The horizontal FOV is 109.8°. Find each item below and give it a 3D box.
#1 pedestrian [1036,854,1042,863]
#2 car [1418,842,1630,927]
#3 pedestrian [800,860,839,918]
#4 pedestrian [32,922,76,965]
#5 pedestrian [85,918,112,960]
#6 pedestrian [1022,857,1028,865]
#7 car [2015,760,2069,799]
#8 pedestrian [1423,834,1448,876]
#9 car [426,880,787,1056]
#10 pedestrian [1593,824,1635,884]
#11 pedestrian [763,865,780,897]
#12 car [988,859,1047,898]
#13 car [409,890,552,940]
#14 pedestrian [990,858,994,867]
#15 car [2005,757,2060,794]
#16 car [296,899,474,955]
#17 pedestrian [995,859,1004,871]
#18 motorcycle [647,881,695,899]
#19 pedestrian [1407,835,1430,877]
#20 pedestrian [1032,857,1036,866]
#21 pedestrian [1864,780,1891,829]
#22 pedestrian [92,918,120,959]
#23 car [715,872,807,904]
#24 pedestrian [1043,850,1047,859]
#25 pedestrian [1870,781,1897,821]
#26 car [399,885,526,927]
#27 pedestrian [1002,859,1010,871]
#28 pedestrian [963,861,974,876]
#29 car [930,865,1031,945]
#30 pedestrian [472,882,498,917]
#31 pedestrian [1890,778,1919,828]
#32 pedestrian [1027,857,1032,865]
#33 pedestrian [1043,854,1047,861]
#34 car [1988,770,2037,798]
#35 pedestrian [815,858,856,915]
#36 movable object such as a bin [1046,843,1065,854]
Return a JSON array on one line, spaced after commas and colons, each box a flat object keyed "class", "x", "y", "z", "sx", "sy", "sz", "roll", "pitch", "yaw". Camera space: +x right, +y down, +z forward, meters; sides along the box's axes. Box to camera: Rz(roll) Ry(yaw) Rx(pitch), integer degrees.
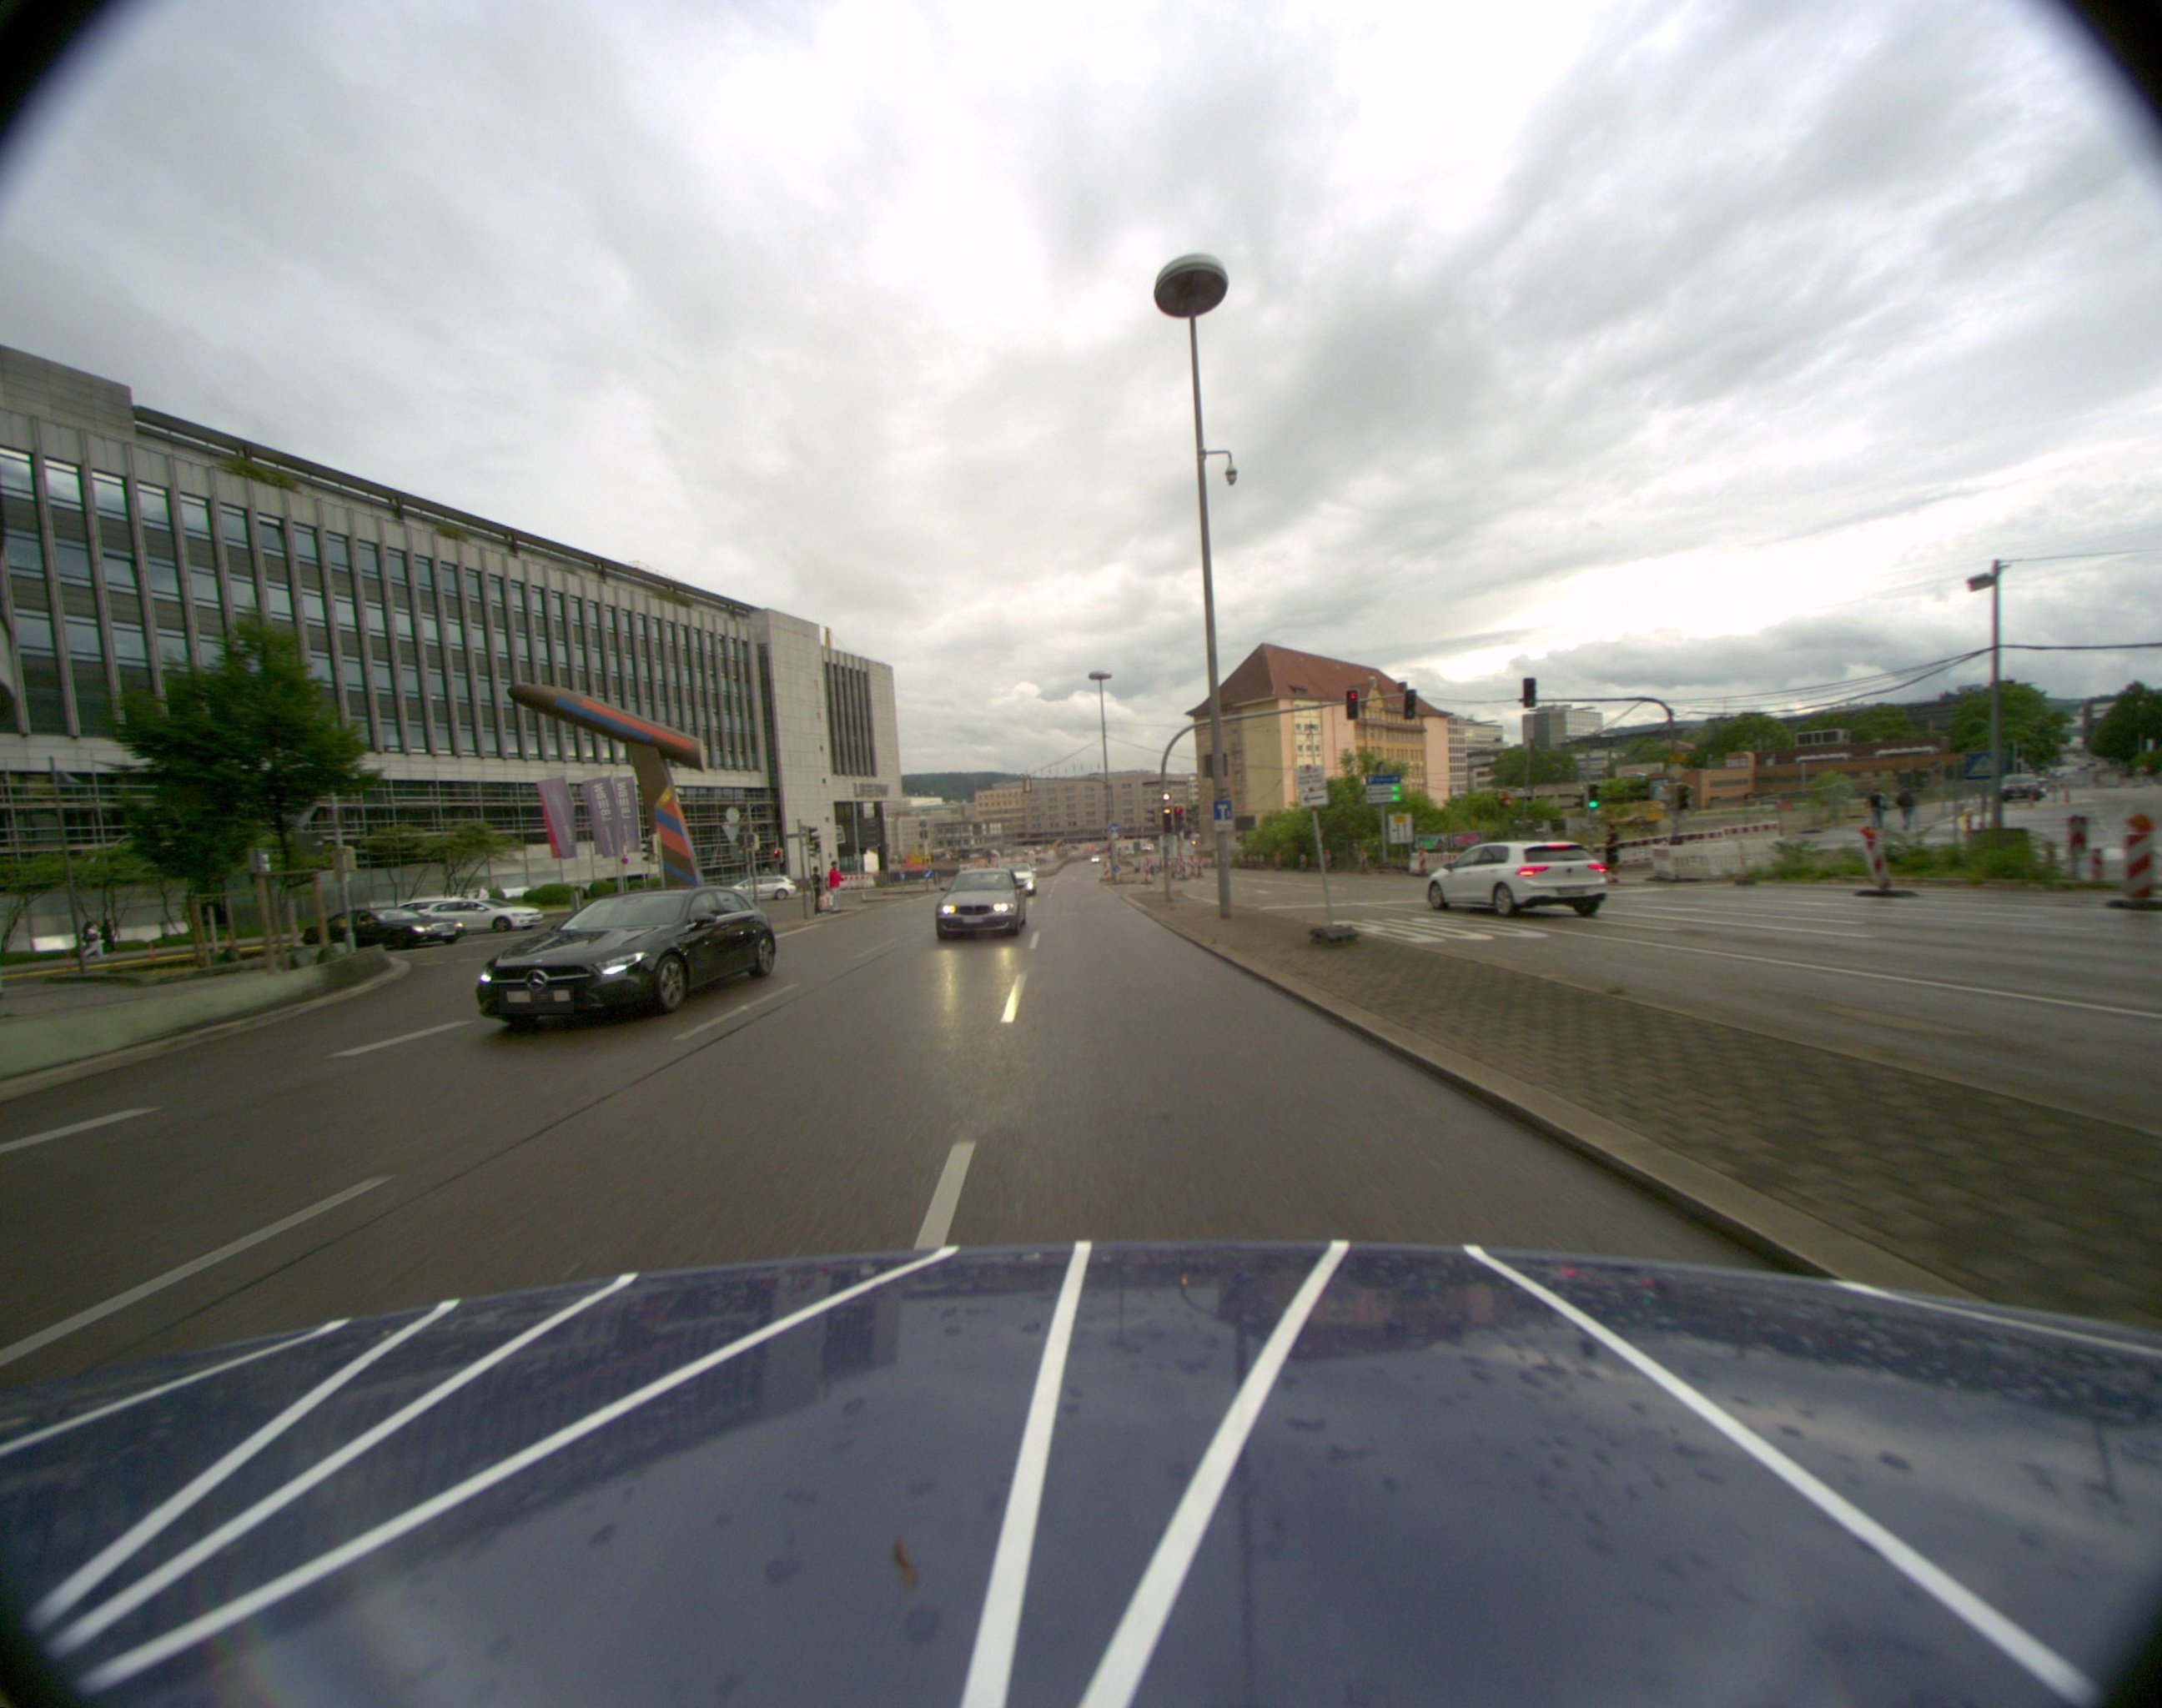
[{"class": "pedestrian", "x": -9.030, "y": 0.891, "z": 162.970, "sx": 0.818, "sy": 1.839, "sz": 0.933, "roll": -2, "pitch": 3, "yaw": 36}, {"class": "car", "x": 8.890, "y": 0.549, "z": 15.765, "sx": 1.765, "sy": 1.452, "sz": 4.359, "roll": -2, "pitch": 0, "yaw": -1}, {"class": "pedestrian", "x": -8.770, "y": 1.175, "z": 25.521, "sx": 0.841, "sy": 1.894, "sz": 0.733, "roll": -2, "pitch": 3, "yaw": 26}, {"class": "pedestrian", "x": -44.070, "y": 3.821, "z": 32.598, "sx": 0.942, "sy": 1.736, "sz": 0.905, "roll": -4, "pitch": 0, "yaw": 26}, {"class": "pedestrian", "x": -42.962, "y": 3.712, "z": 33.229, "sx": 0.560, "sy": 1.736, "sz": 0.553, "roll": -4, "pitch": 0, "yaw": 26}, {"class": "pedestrian", "x": -11.142, "y": 1.458, "z": 151.350, "sx": 0.715, "sy": 1.545, "sz": 1.009, "roll": -3, "pitch": 3, "yaw": 19}, {"class": "car", "x": 53.120, "y": -4.105, "z": 41.992, "sx": 4.006, "sy": 1.955, "sz": 1.809, "roll": -5, "pitch": 3, "yaw": -37}, {"class": "pedestrian", "x": 16.589, "y": 0.029, "z": 35.606, "sx": 0.763, "sy": 1.912, "sz": 0.742, "roll": -3, "pitch": 3, "yaw": 2}, {"class": "car", "x": -5.401, "y": 1.173, "z": 9.463, "sx": 1.759, "sy": 1.399, "sz": 4.226, "roll": -3, "pitch": 1, "yaw": 0}, {"class": "pedestrian", "x": 17.022, "y": -0.013, "z": 24.279, "sx": 0.743, "sy": 1.870, "sz": 0.746, "roll": -4, "pitch": 3, "yaw": -10}, {"class": "pedestrian", "x": -21.218, "y": 1.834, "z": 52.042, "sx": 0.856, "sy": 2.086, "sz": 0.903, "roll": -6, "pitch": 1, "yaw": -23}, {"class": "car", "x": -2.832, "y": 1.088, "z": 34.977, "sx": 1.968, "sy": 1.539, "sz": 4.220, "roll": -3, "pitch": 0, "yaw": 4}, {"class": "car", "x": -23.933, "y": 2.402, "z": 30.432, "sx": 3.999, "sy": 1.434, "sz": 1.865, "roll": -5, "pitch": 4, "yaw": -4}, {"class": "pedestrian", "x": -17.005, "y": 1.628, "z": 144.898, "sx": 0.567, "sy": 1.738, "sz": 0.495, "roll": -3, "pitch": 3, "yaw": 18}, {"class": "car", "x": 57.453, "y": -4.731, "z": 45.855, "sx": 4.006, "sy": 2.003, "sz": 1.995, "roll": -5, "pitch": 3, "yaw": -37}, {"class": "car", "x": -23.332, "y": 2.439, "z": 25.532, "sx": 4.707, "sy": 1.434, "sz": 1.868, "roll": -4, "pitch": 2, "yaw": 11}, {"class": "pedestrian", "x": -11.795, "y": 1.627, "z": 110.431, "sx": 0.861, "sy": 1.584, "sz": 0.953, "roll": -2, "pitch": 3, "yaw": 27}, {"class": "motorcycle", "x": -25.559, "y": 2.213, "z": 47.419, "sx": 2.572, "sy": 1.074, "sz": 0.634, "roll": 0, "pitch": 0, "yaw": -8}, {"class": "pedestrian", "x": 15.846, "y": 0.080, "z": 35.655, "sx": 0.674, "sy": 1.891, "sz": 0.775, "roll": -3, "pitch": 3, "yaw": 2}, {"class": "pedestrian", "x": -8.743, "y": 1.399, "z": 140.626, "sx": 0.648, "sy": 1.624, "sz": 0.907, "roll": -3, "pitch": 3, "yaw": 0}, {"class": "pedestrian", "x": 35.748, "y": -2.218, "z": 34.095, "sx": 0.703, "sy": 2.159, "sz": 0.745, "roll": -6, "pitch": 3, "yaw": -37}, {"class": "pedestrian", "x": -42.388, "y": 3.674, "z": 33.032, "sx": 0.560, "sy": 1.736, "sz": 0.553, "roll": -4, "pitch": 0, "yaw": 26}, {"class": "car", "x": -18.712, "y": 1.959, "z": 44.519, "sx": 4.622, "sy": 1.443, "sz": 1.702, "roll": -5, "pitch": 1, "yaw": -34}, {"class": "pedestrian", "x": -7.704, "y": 0.099, "z": 162.638, "sx": 0.746, "sy": 1.696, "sz": 0.687, "roll": -1, "pitch": 3, "yaw": 14}, {"class": "pedestrian", "x": 38.835, "y": -2.545, "z": 36.773, "sx": 0.786, "sy": 1.842, "sz": 0.766, "roll": -4, "pitch": 0, "yaw": -37}, {"class": "car", "x": -30.432, "y": 2.516, "z": 37.574, "sx": 4.587, "sy": 1.624, "sz": 1.773, "roll": -3, "pitch": 0, "yaw": -31}, {"class": "pedestrian", "x": -10.922, "y": 1.577, "z": 110.339, "sx": 0.732, "sy": 1.566, "sz": 0.806, "roll": -3, "pitch": 3, "yaw": 27}, {"class": "pedestrian", "x": -13.365, "y": 1.746, "z": 90.316, "sx": 0.730, "sy": 1.643, "sz": 1.062, "roll": -3, "pitch": 2, "yaw": 27}, {"class": "car", "x": -2.146, "y": 1.046, "z": 17.169, "sx": 1.744, "sy": 1.434, "sz": 3.999, "roll": -3, "pitch": 0, "yaw": -1}, {"class": "pedestrian", "x": -31.924, "y": 2.429, "z": 40.669, "sx": 0.968, "sy": 1.808, "sz": 0.782, "roll": -1, "pitch": 3, "yaw": 40}, {"class": "pedestrian", "x": 36.068, "y": -2.240, "z": 33.289, "sx": 0.744, "sy": 2.128, "sz": 0.745, "roll": -6, "pitch": 2, "yaw": -37}, {"class": "pedestrian", "x": -10.312, "y": 1.342, "z": 151.359, "sx": 0.609, "sy": 1.514, "sz": 0.886, "roll": -3, "pitch": 3, "yaw": 19}, {"class": "pedestrian", "x": -7.913, "y": 0.705, "z": 166.963, "sx": 0.647, "sy": 1.545, "sz": 0.767, "roll": -2, "pitch": 3, "yaw": 36}, {"class": "car", "x": 64.043, "y": -4.810, "z": 52.235, "sx": 4.006, "sy": 1.696, "sz": 1.995, "roll": -5, "pitch": 3, "yaw": -37}, {"class": "pedestrian", "x": -8.590, "y": 1.131, "z": 26.594, "sx": 0.841, "sy": 1.894, "sz": 0.862, "roll": -2, "pitch": 3, "yaw": 26}, {"class": "movable object such as a bin", "x": -6.520, "y": -1.527, "z": 194.733, "sx": 4.134, "sy": 2.521, "sz": 1.995, "roll": -5, "pitch": 3, "yaw": -35}]
